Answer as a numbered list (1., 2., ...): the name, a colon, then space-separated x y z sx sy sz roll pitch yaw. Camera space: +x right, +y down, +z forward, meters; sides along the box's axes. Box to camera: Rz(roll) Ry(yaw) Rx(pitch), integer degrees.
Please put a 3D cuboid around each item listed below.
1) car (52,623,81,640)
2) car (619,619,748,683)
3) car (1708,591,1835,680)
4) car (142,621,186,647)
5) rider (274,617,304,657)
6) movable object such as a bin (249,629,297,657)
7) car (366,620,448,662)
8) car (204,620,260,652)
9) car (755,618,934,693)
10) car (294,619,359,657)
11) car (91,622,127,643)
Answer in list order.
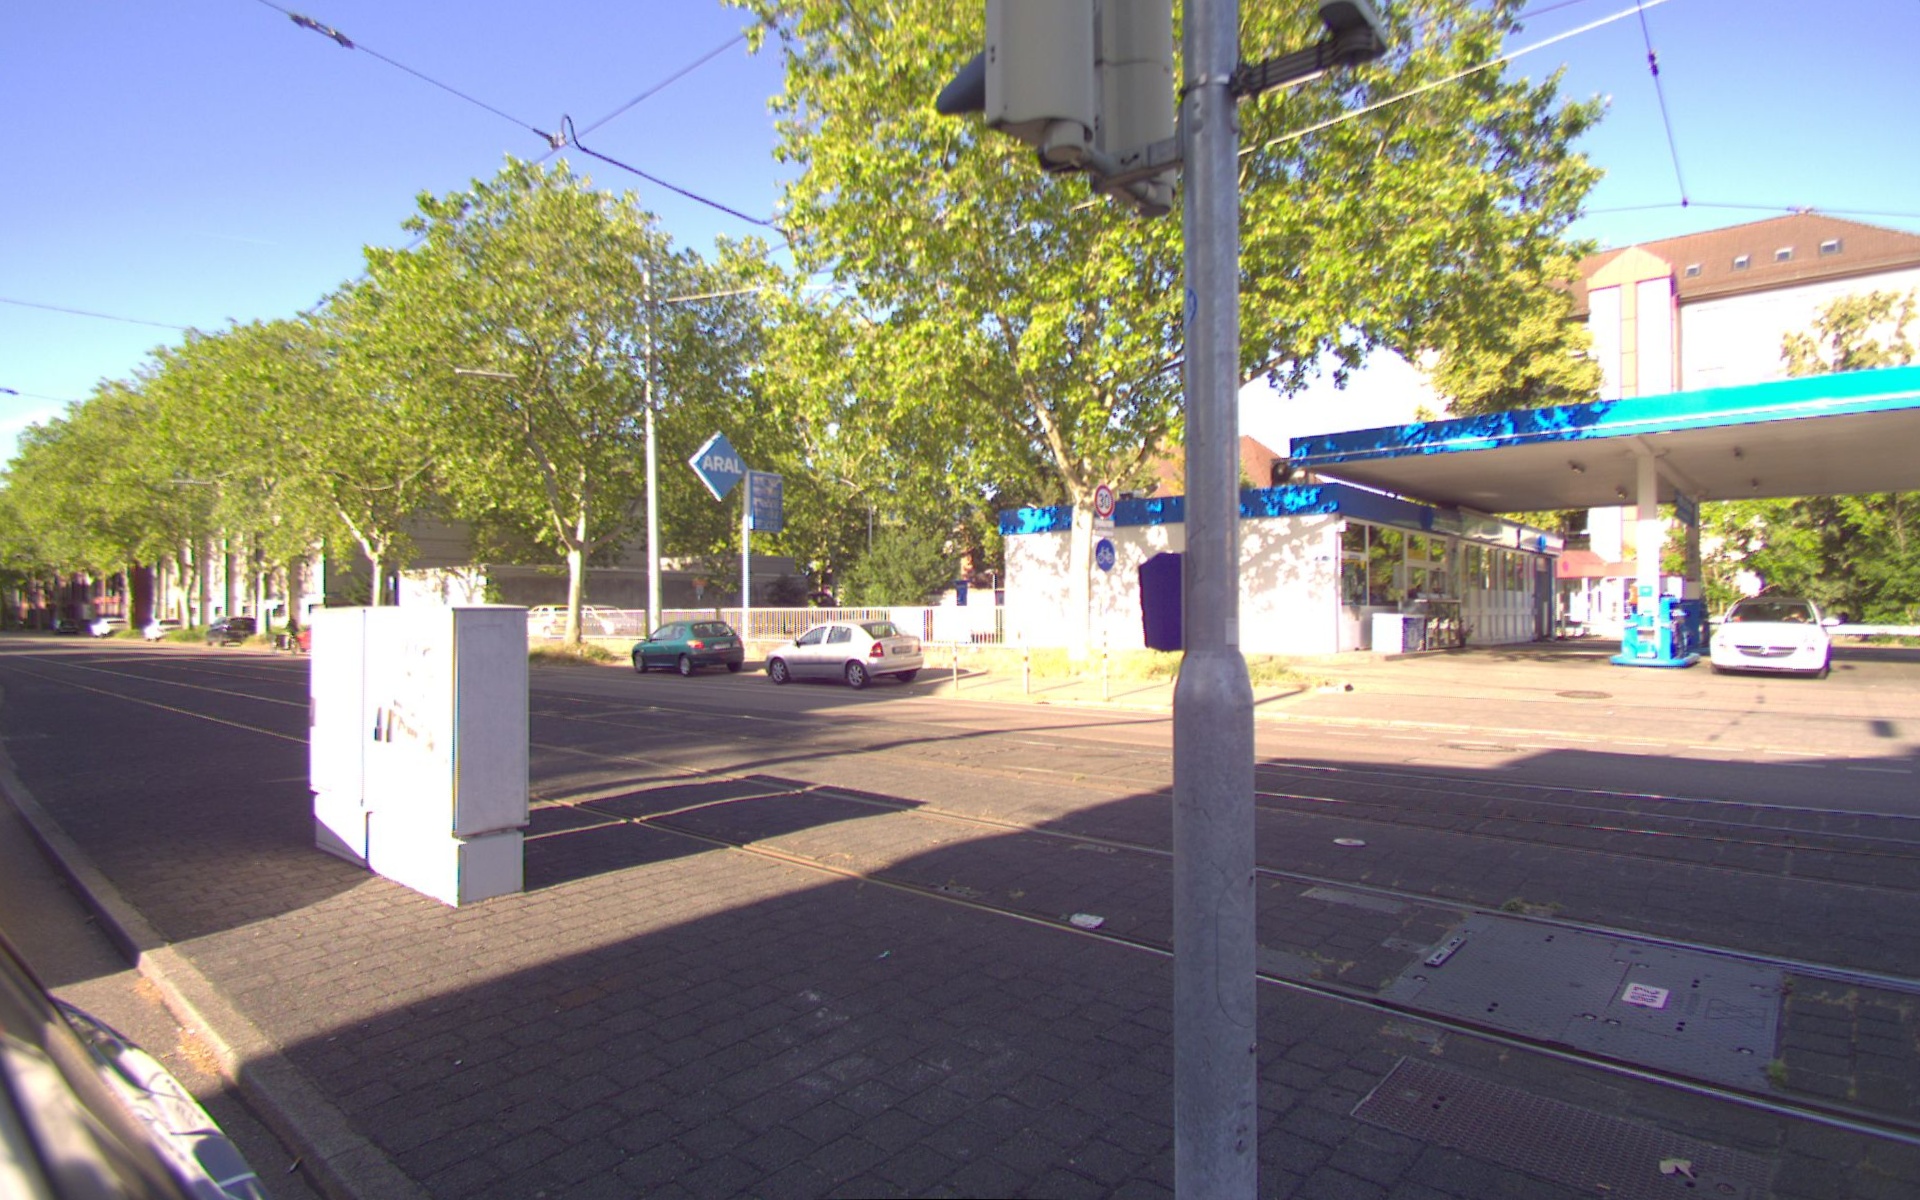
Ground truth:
1. car: -85.036 3.013 96.337 3.731 1.471 1.639 -1 2 43
2. car: -7.390 1.297 26.892 3.606 1.455 1.598 -1 2 43
3. car: 15.629 0.607 19.420 1.743 1.446 3.882 -1 1 41
4. car: -53.701 2.286 68.250 3.878 1.552 1.731 -1 2 43
5. rider: -28.410 1.563 42.816 1.104 1.660 0.717 -1 0 36
6. movable object such as a bin: -29.540 1.848 43.504 1.831 1.111 1.164 -1 0 36
7. car: -21.846 1.567 39.911 3.769 1.455 1.701 -1 2 43
8. car: -40.689 1.982 56.549 3.878 1.603 1.731 -1 2 43
9. car: -2.632 1.187 22.601 3.987 1.376 1.666 -2 3 41
10. car: -28.794 1.693 45.985 3.377 1.506 1.639 -1 2 43
11. car: -66.788 2.502 79.417 3.731 1.471 1.639 -1 2 43
